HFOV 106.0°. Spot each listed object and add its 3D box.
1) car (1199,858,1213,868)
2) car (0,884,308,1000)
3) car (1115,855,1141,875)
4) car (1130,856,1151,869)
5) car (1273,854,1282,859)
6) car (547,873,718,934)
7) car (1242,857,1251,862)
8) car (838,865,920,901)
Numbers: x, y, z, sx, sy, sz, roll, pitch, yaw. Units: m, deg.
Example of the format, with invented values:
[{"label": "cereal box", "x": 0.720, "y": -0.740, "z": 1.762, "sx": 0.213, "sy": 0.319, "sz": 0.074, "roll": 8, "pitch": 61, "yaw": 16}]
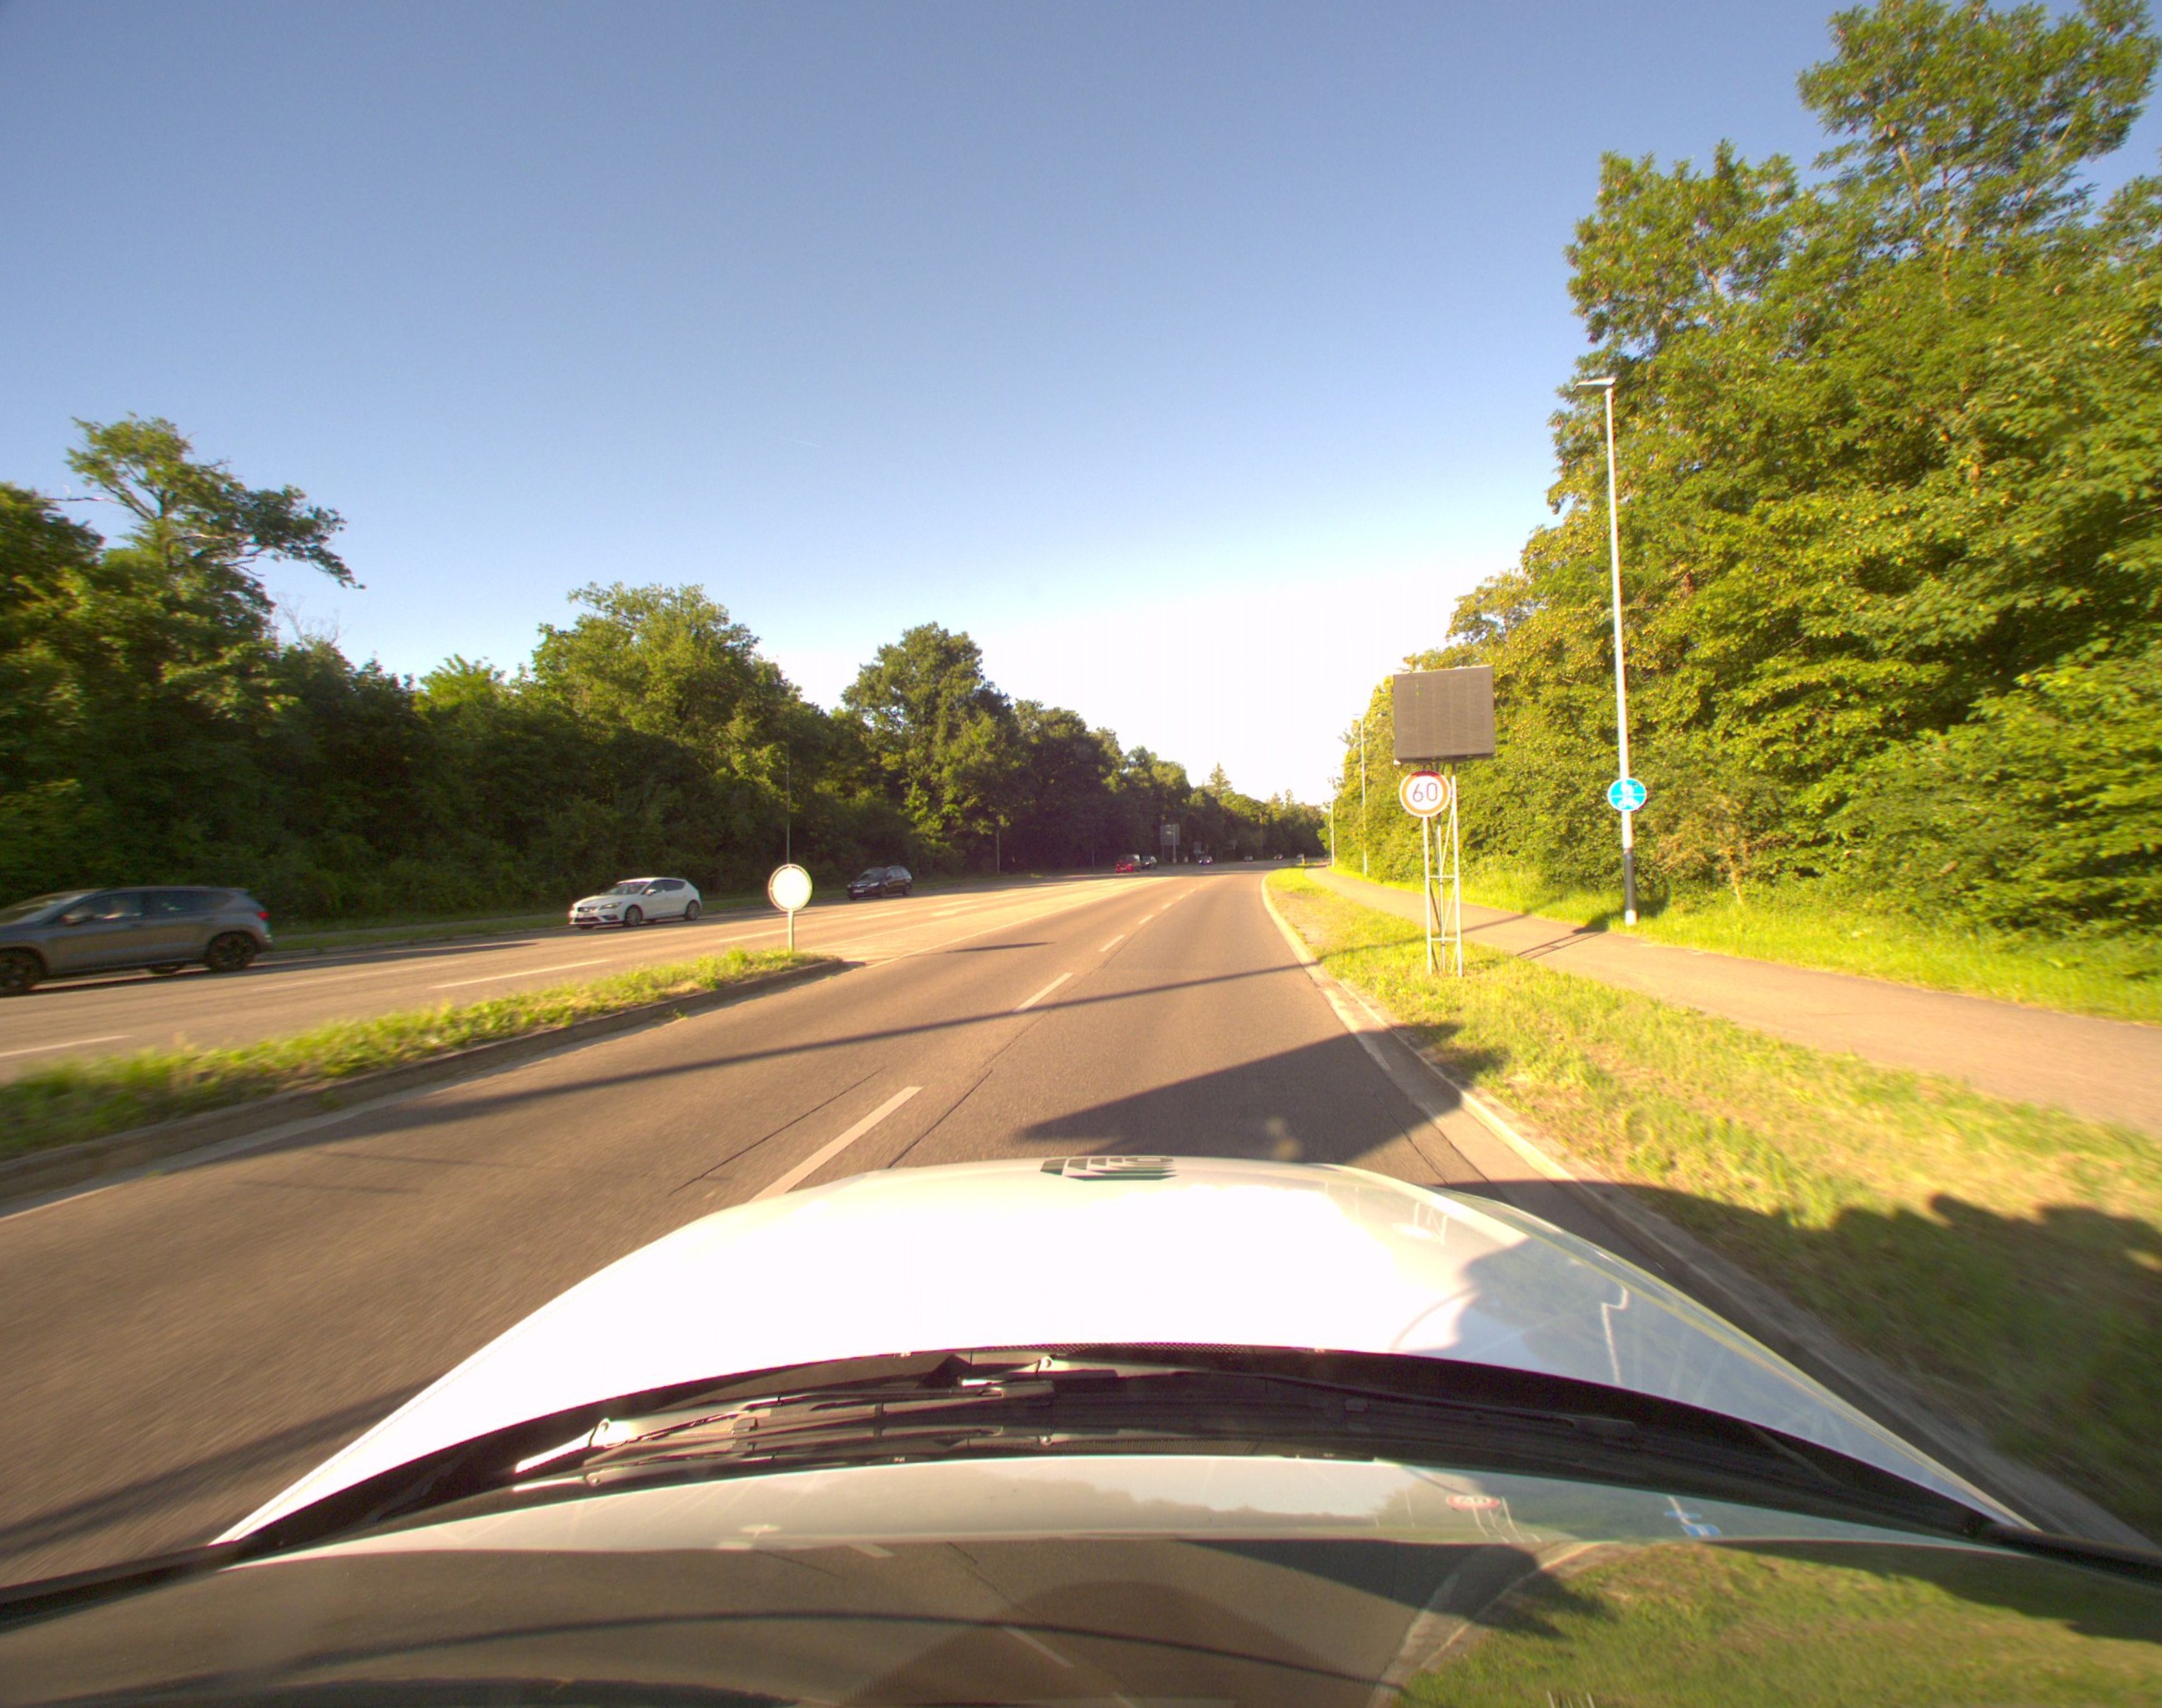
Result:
[{"label": "car", "x": 21.609, "y": 1.535, "z": 140.352, "sx": 1.979, "sy": 1.564, "sz": 4.355, "roll": -1, "pitch": 0, "yaw": 14}, {"label": "car", "x": -16.370, "y": 1.393, "z": 13.603, "sx": 1.980, "sy": 1.564, "sz": 4.663, "roll": -3, "pitch": -1, "yaw": 12}, {"label": "car", "x": 4.977, "y": 1.100, "z": 85.991, "sx": 1.980, "sy": 1.962, "sz": 4.663, "roll": -3, "pitch": -1, "yaw": 12}, {"label": "car", "x": 7.719, "y": 1.049, "z": 105.608, "sx": 1.980, "sy": 1.637, "sz": 4.860, "roll": -1, "pitch": 0, "yaw": 12}, {"label": "car", "x": 56.592, "y": 0.763, "z": 234.365, "sx": 1.809, "sy": 1.545, "sz": 4.278, "roll": -1, "pitch": 0, "yaw": 21}, {"label": "car", "x": -13.674, "y": 1.463, "z": 25.207, "sx": 1.980, "sy": 1.564, "sz": 4.663, "roll": -3, "pitch": -1, "yaw": 12}, {"label": "car", "x": 37.740, "y": 1.246, "z": 185.576, "sx": 1.731, "sy": 1.234, "sz": 4.691, "roll": -1, "pitch": 0, "yaw": 14}, {"label": "car", "x": -9.847, "y": 1.378, "z": 40.120, "sx": 1.980, "sy": 1.564, "sz": 4.663, "roll": -3, "pitch": -1, "yaw": 12}]
